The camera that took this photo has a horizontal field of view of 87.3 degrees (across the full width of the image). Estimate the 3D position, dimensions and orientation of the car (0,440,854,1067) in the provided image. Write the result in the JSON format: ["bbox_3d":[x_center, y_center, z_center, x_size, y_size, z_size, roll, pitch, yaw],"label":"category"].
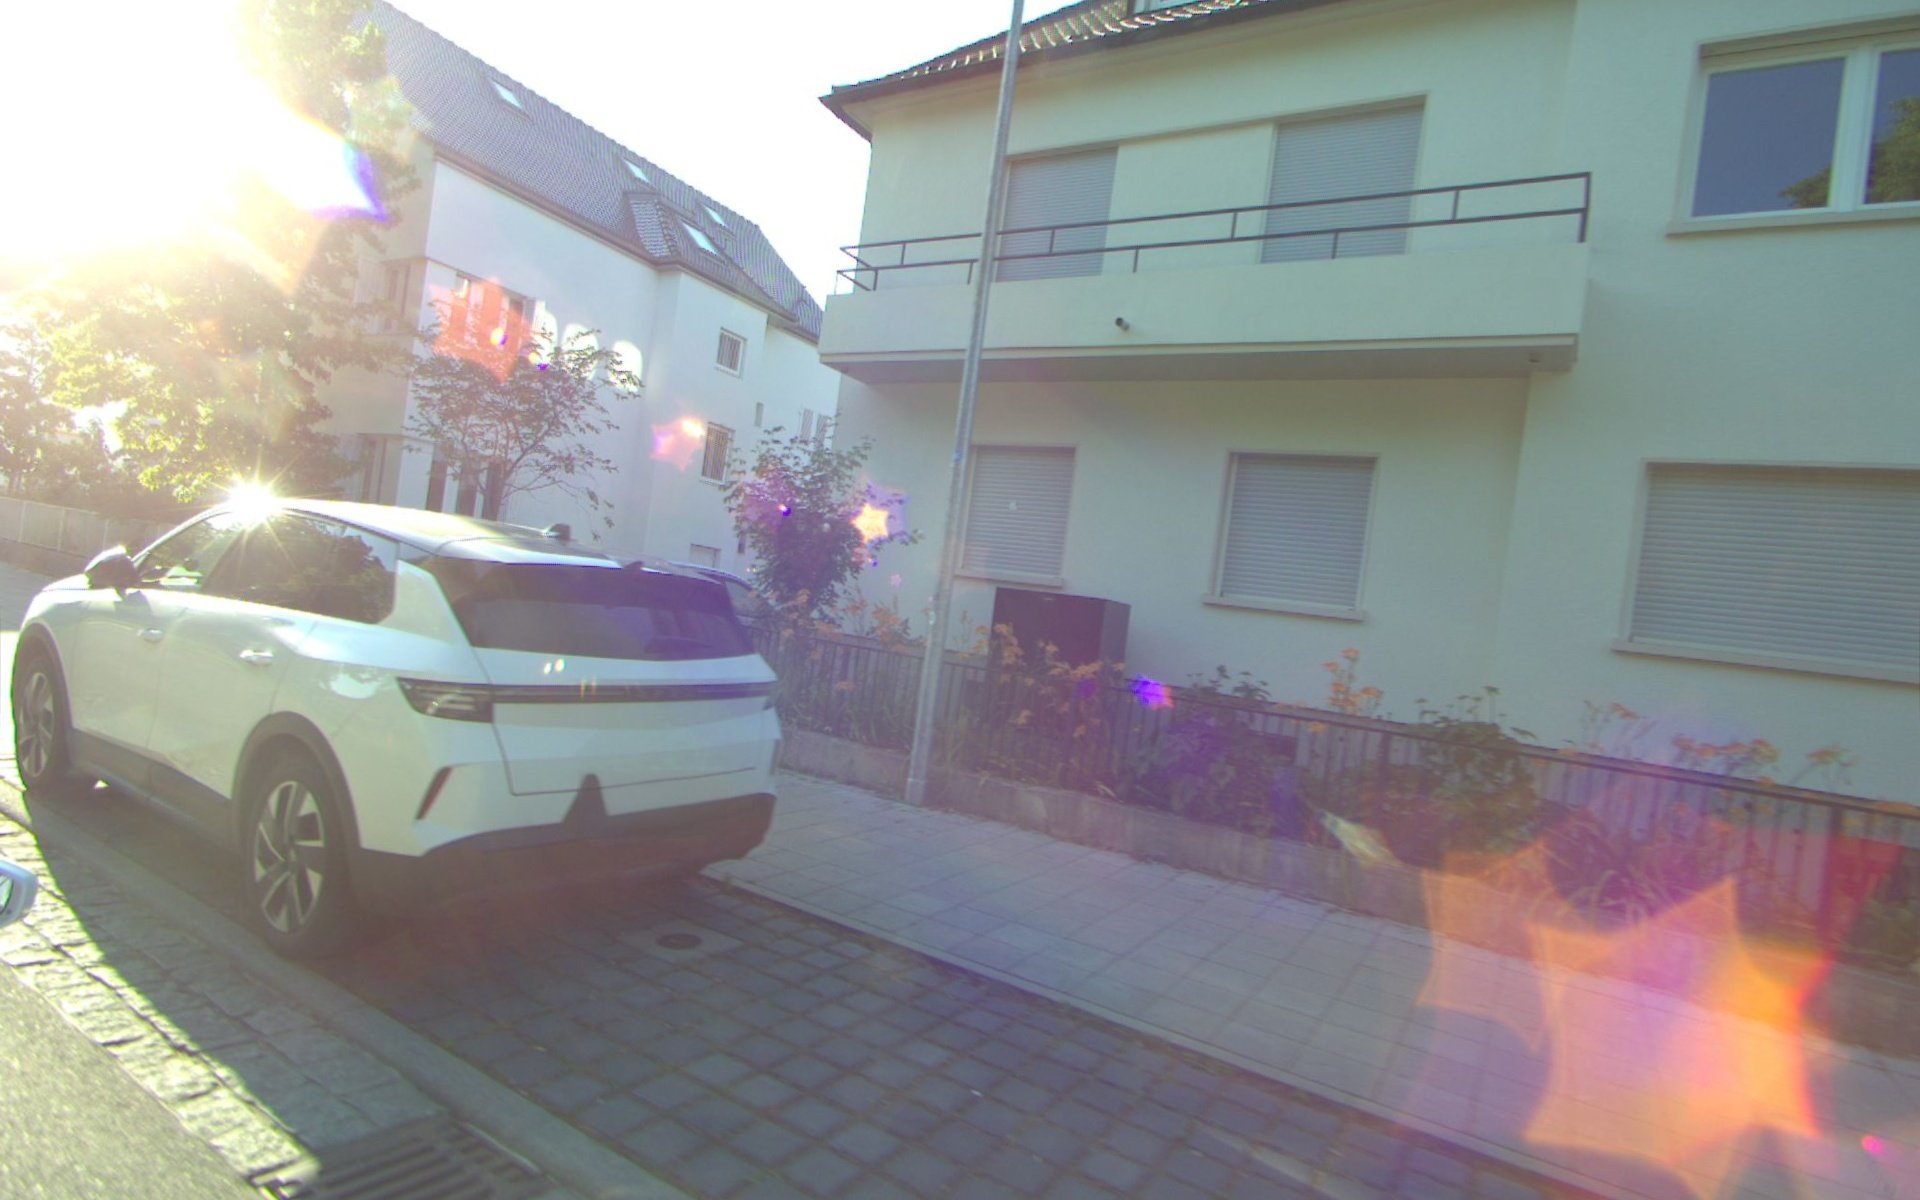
[{"bbox_3d":[-2.952,0.312,4.998,4.500,1.730,1.906,8,2,33],"label":"car"}]

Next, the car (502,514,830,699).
[{"bbox_3d":[-3.709,0.218,13.472,1.783,1.866,3.996,9,-1,26],"label":"car"}]
